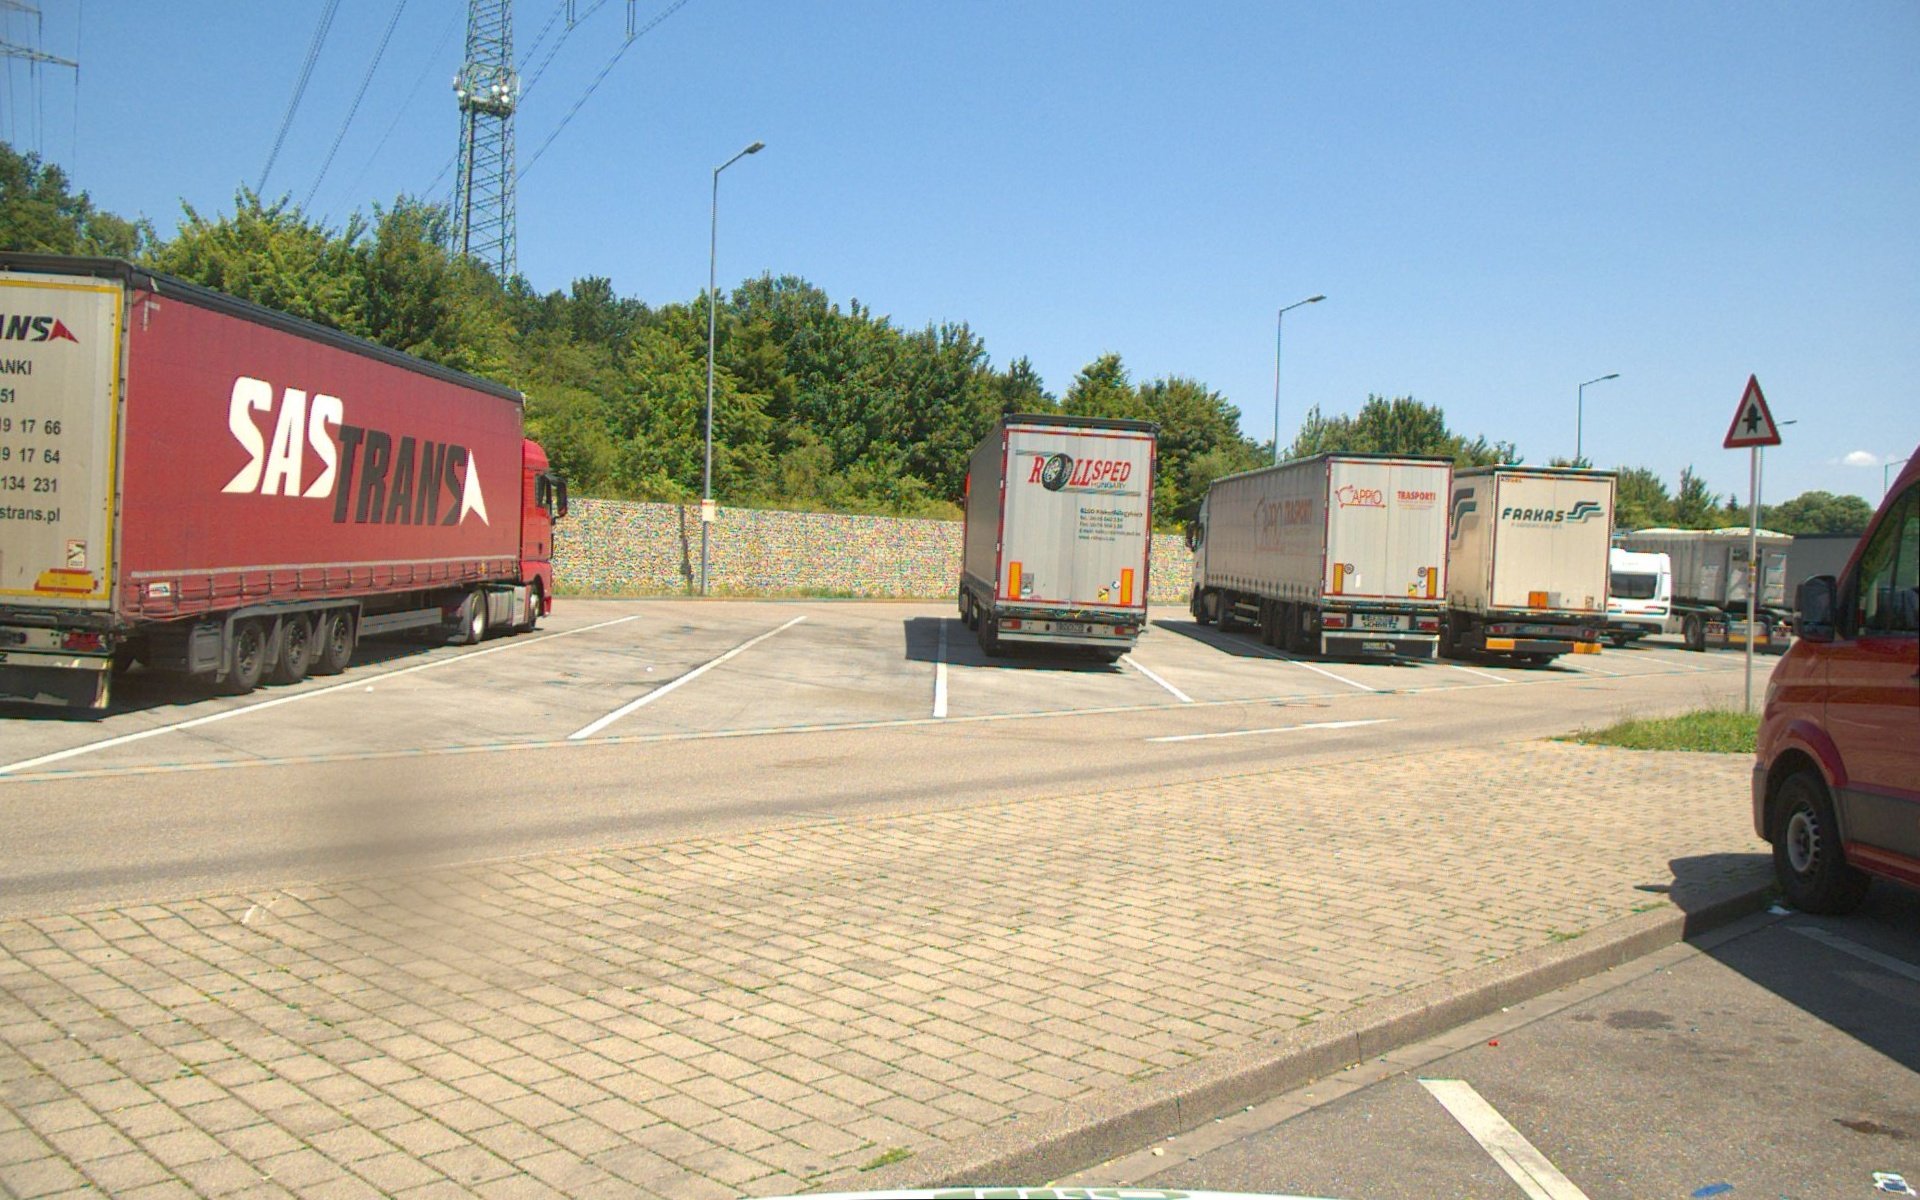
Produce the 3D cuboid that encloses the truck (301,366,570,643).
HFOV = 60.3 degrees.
[{"bbox_3d":[-8.714,-1.511,28.242,2.749,4.205,5.893,1,1,-1],"label":"truck"}]

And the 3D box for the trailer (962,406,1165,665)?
[{"bbox_3d":[1.660,-1.128,32.042,2.839,4.083,11.314,1,1,-2],"label":"trailer"}]

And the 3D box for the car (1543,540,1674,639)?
[{"bbox_3d":[18.246,-0.276,46.739,2.072,2.645,3.999,1,0,-1],"label":"car"}]

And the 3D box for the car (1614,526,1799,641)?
[{"bbox_3d":[21.711,-0.505,48.498,2.448,3.128,6.350,1,1,-1],"label":"car"}]

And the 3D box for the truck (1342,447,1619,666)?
[{"bbox_3d":[11.728,-0.840,38.864,2.534,4.299,11.967,1,0,-1],"label":"truck"}]

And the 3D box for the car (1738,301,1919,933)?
[{"bbox_3d":[4.978,0.104,5.562,1.952,2.679,6.385,1,1,3],"label":"car"}]

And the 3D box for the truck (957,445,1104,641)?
[{"bbox_3d":[1.479,-1.242,37.676,2.814,4.050,6.027,1,1,-2],"label":"truck"}]

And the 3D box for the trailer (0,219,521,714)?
[{"bbox_3d":[-8.627,-1.289,20.987,2.743,4.293,13.200,1,1,-1],"label":"trailer"}]

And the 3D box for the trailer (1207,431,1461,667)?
[{"bbox_3d":[8.185,-1.103,38.366,2.627,4.530,12.826,1,1,-1],"label":"trailer"}]

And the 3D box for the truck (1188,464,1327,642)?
[{"bbox_3d":[8.033,-1.253,45.378,2.607,4.530,5.863,1,1,-1],"label":"truck"}]
